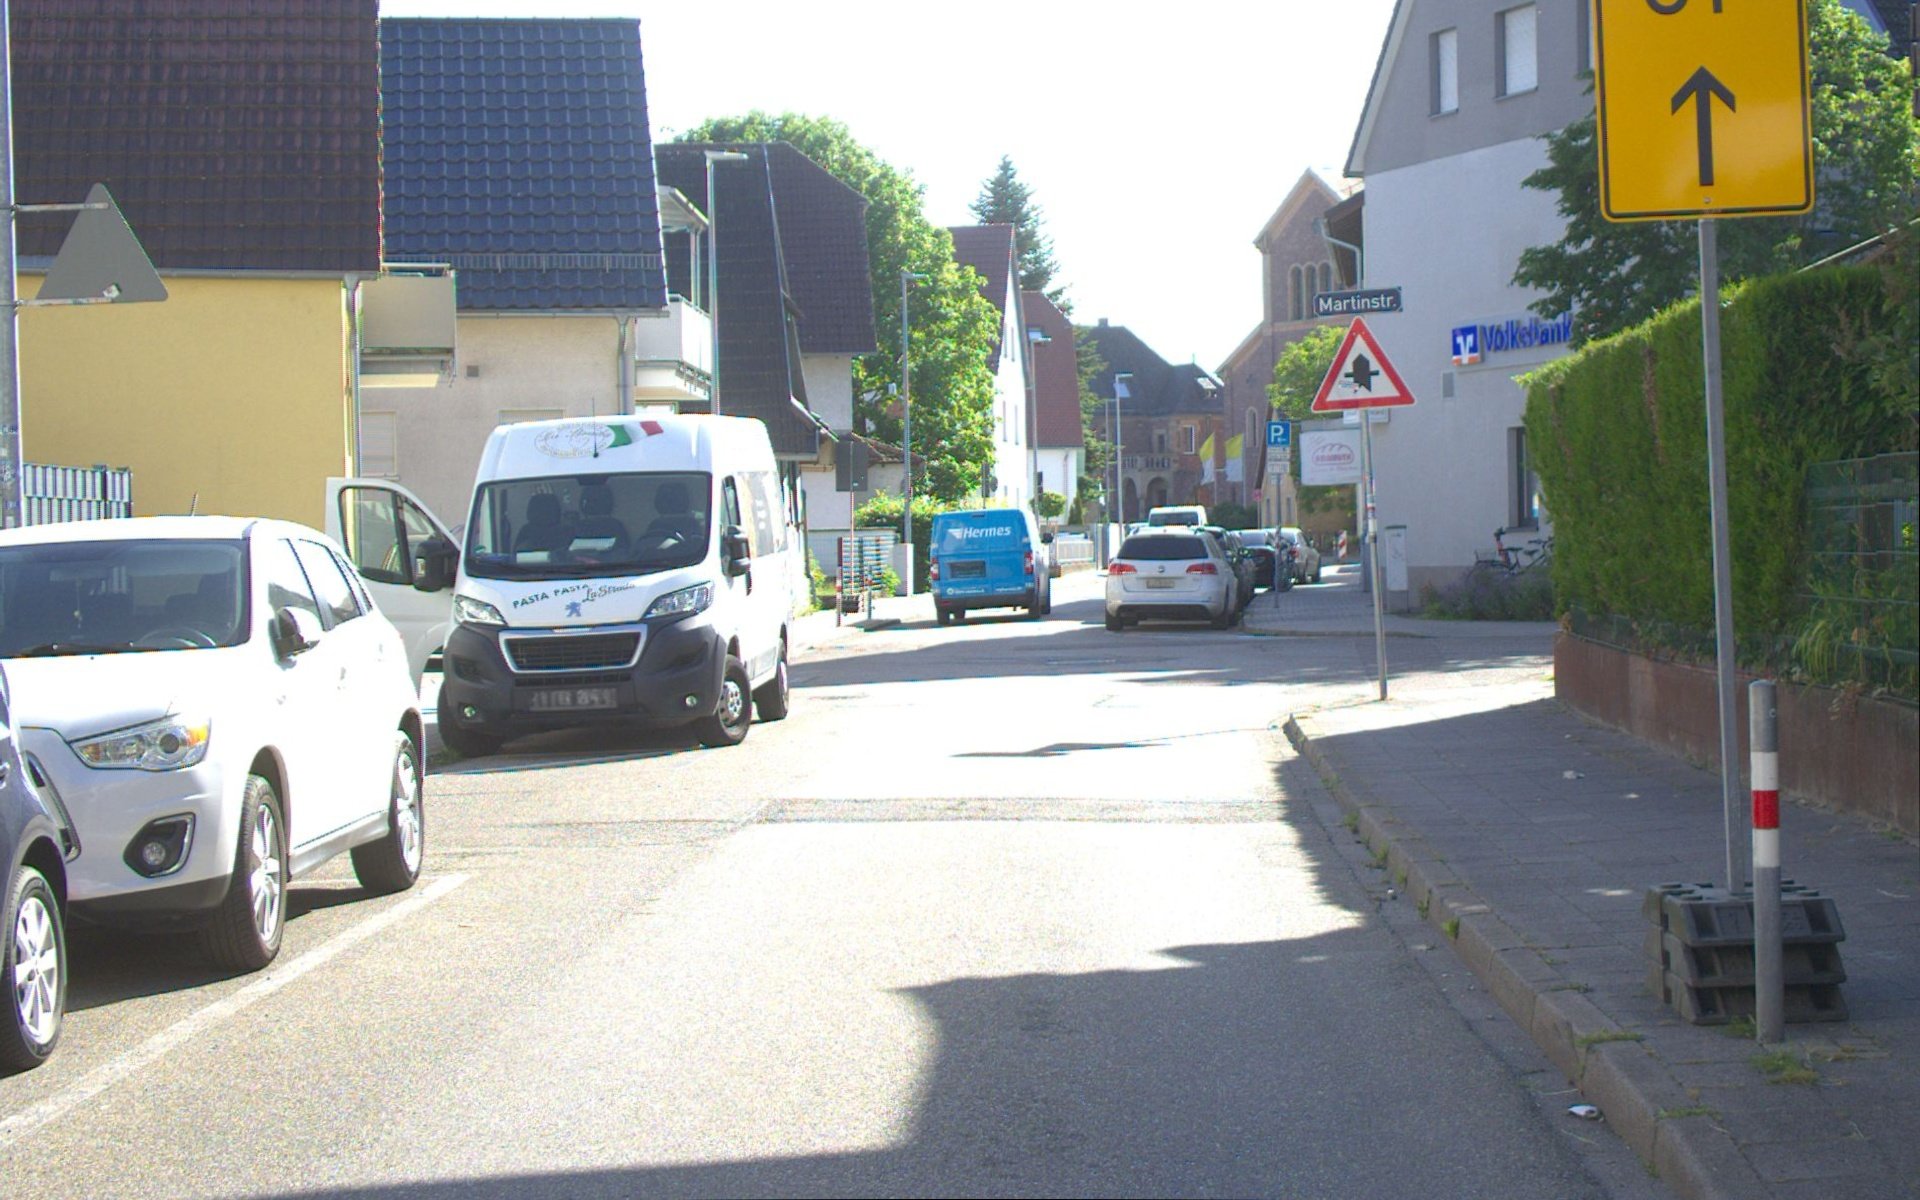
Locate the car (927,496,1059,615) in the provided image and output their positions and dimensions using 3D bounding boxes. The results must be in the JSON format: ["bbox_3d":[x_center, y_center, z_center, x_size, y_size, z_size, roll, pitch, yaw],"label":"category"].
[{"bbox_3d":[0.616,-0.799,59.716,1.902,1.911,5.069,-2,1,4],"label":"car"}]

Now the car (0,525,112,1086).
[{"bbox_3d":[-3.434,0.593,8.501,1.655,1.502,3.684,-2,1,1],"label":"car"}]

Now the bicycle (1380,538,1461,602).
[{"bbox_3d":[6.902,-0.448,51.520,1.163,0.917,0.313,-1,1,14],"label":"bicycle"}]

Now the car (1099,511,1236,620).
[{"bbox_3d":[3.154,-0.557,51.464,1.846,1.508,4.506,-1,2,6],"label":"car"}]

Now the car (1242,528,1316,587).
[{"bbox_3d":[8.275,-1.118,88.968,1.812,1.470,4.659,0,1,6],"label":"car"}]

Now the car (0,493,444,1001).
[{"bbox_3d":[-3.203,0.441,13.128,1.722,1.613,4.112,-2,1,1],"label":"car"}]

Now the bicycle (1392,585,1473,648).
[{"bbox_3d":[7.149,0.247,52.003,1.163,0.917,0.313,-1,1,14],"label":"bicycle"}]

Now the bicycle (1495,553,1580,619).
[{"bbox_3d":[8.340,-0.203,49.669,1.163,0.917,0.313,-2,1,4],"label":"bicycle"}]

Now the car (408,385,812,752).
[{"bbox_3d":[-2.529,-0.281,26.435,2.252,2.462,5.516,-2,1,2],"label":"car"}]

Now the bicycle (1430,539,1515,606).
[{"bbox_3d":[7.796,-0.417,52.289,1.223,0.972,0.320,-1,1,19],"label":"bicycle"}]
